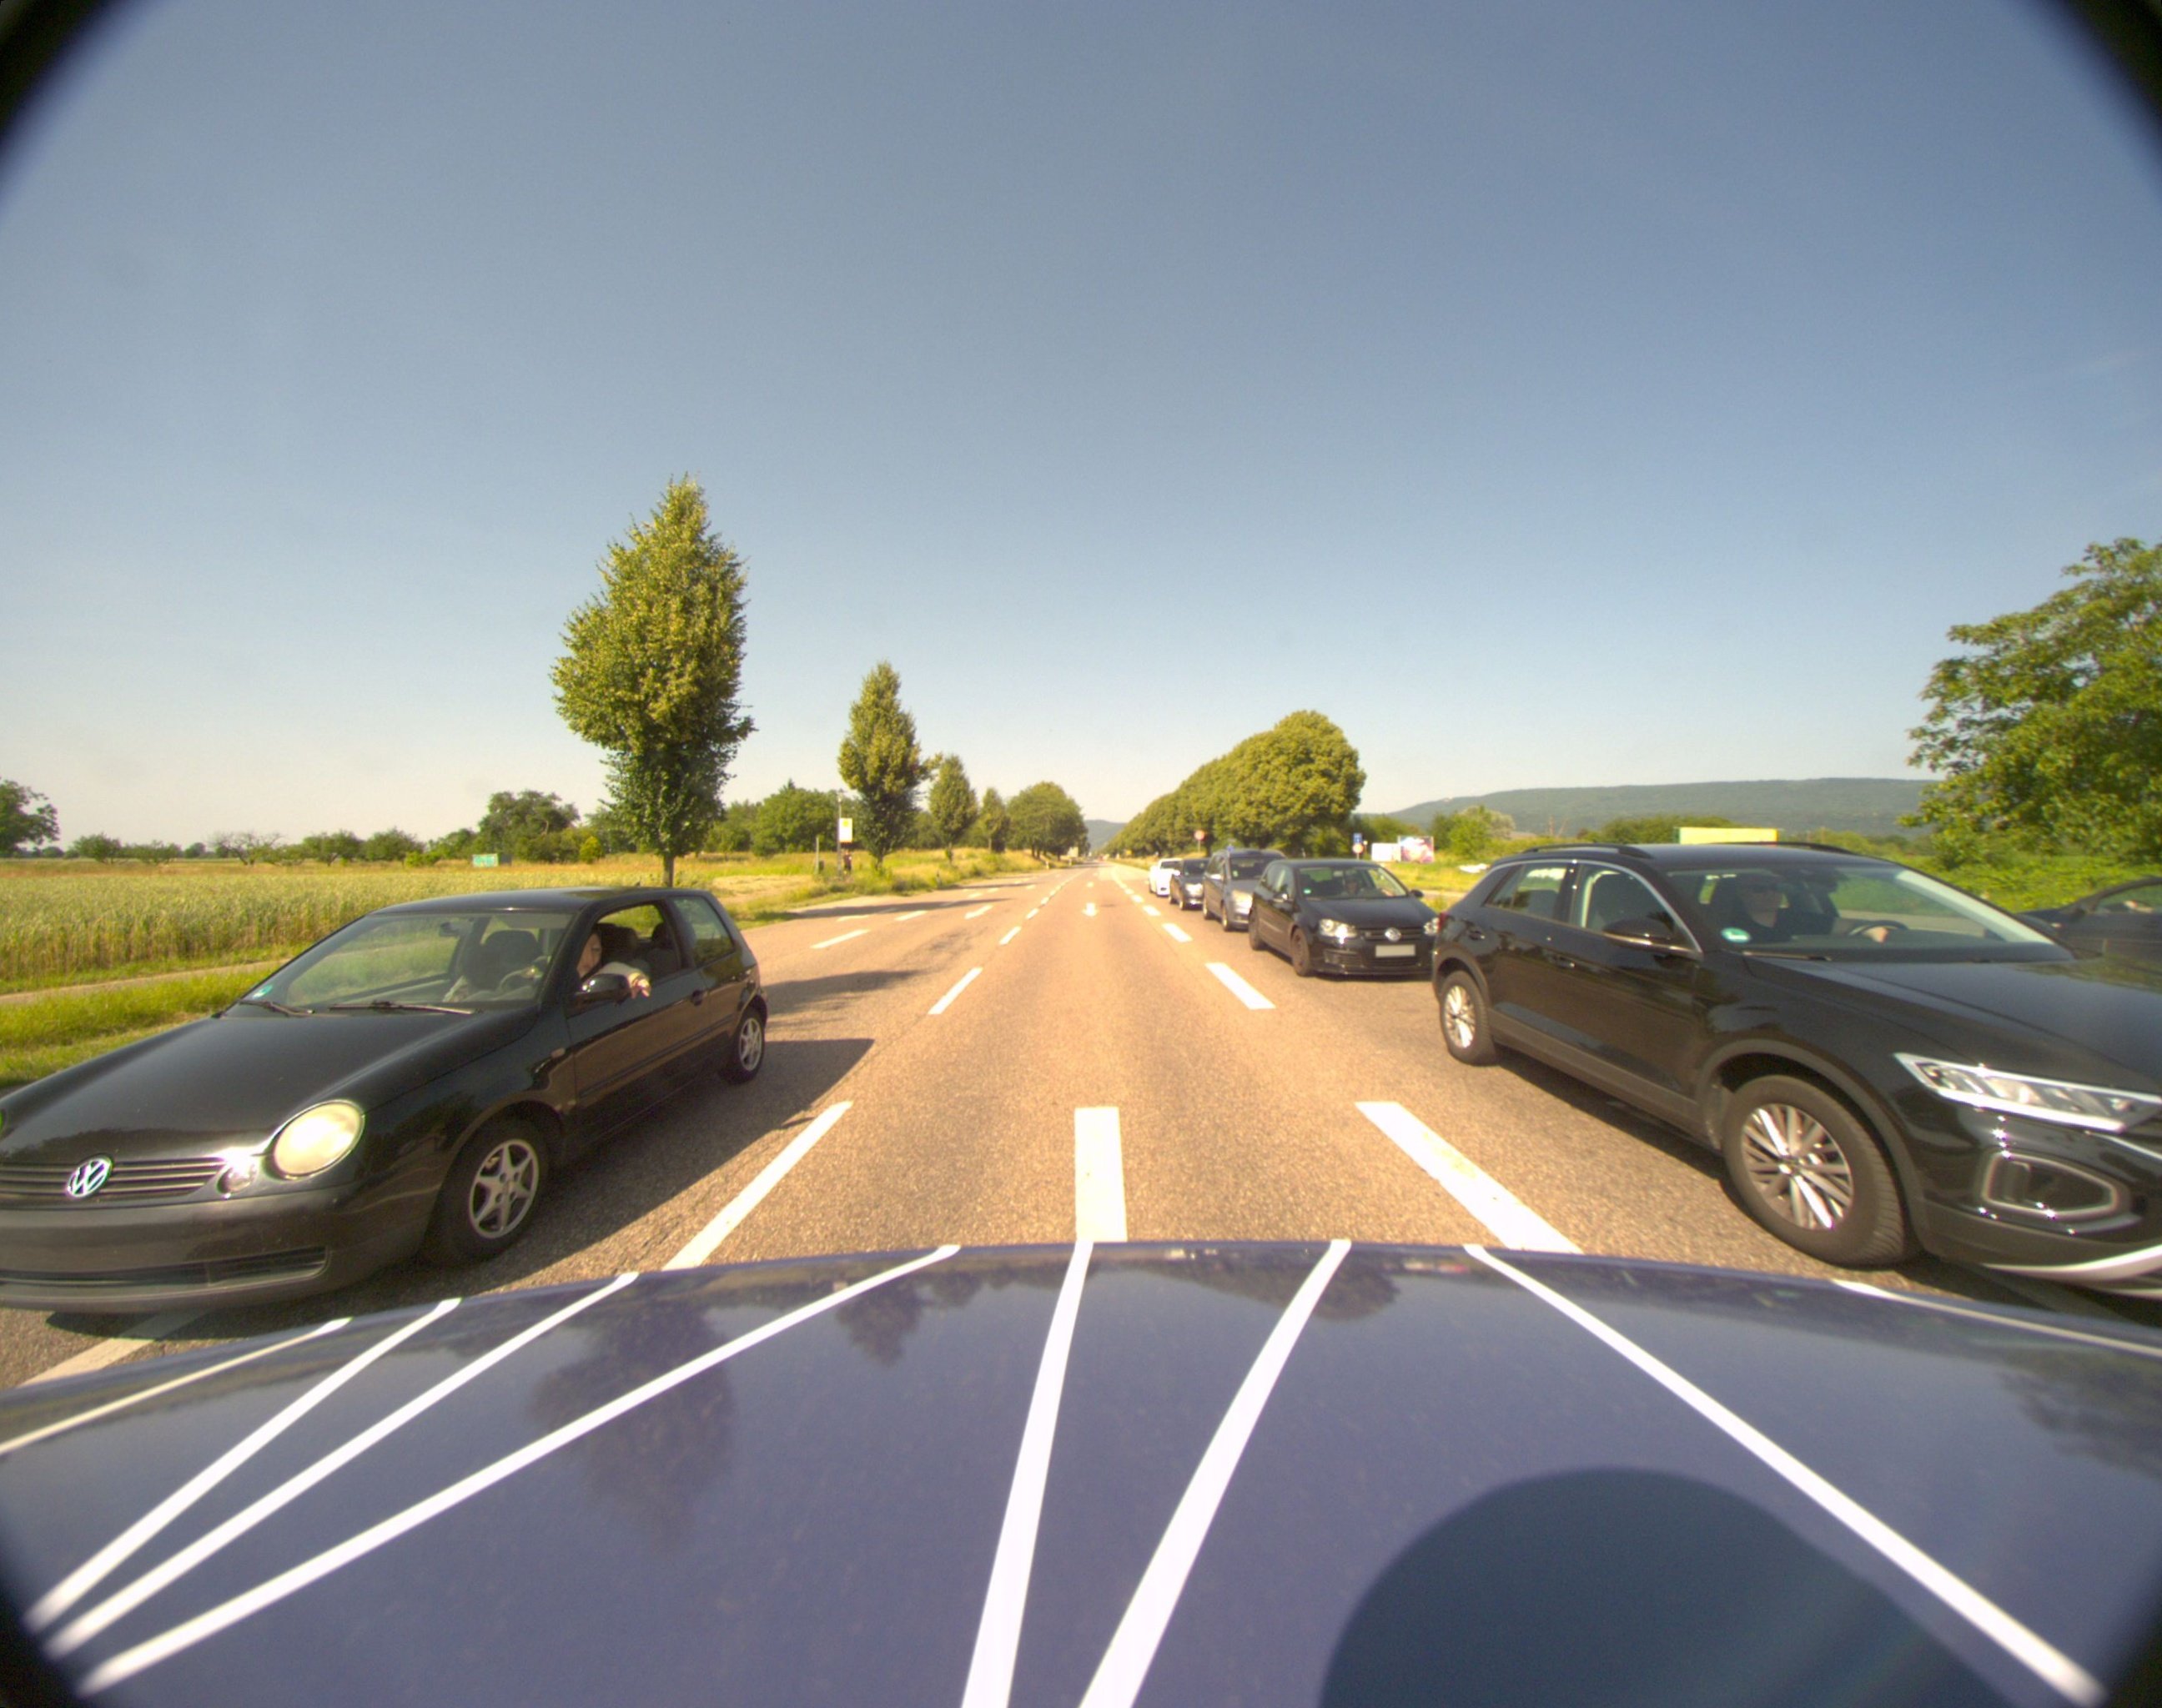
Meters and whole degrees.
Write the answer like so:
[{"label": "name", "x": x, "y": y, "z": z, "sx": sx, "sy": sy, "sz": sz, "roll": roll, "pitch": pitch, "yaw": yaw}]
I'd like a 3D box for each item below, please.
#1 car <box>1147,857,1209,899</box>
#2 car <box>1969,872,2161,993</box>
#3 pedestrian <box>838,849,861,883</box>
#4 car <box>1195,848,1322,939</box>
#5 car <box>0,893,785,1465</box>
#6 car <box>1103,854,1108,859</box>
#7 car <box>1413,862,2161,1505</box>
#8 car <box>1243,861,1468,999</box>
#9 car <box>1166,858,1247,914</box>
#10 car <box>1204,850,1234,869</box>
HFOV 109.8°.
[{"label": "car", "x": 3.625, "y": 0.853, "z": 29.176, "sx": 1.808, "sy": 1.417, "sz": 4.641, "roll": -1, "pitch": 0, "yaw": 1}, {"label": "car", "x": 14.171, "y": 1.027, "z": 9.531, "sx": 1.618, "sy": 1.433, "sz": 3.776, "roll": 2, "pitch": 0, "yaw": 1}, {"label": "pedestrian", "x": -12.438, "y": 0.629, "z": 40.892, "sx": 0.904, "sy": 1.828, "sz": 1.194, "roll": 0, "pitch": 0, "yaw": -1}, {"label": "car", "x": 3.611, "y": 0.734, "z": 16.258, "sx": 1.745, "sy": 1.662, "sz": 4.357, "roll": -1, "pitch": 0, "yaw": 1}, {"label": "car", "x": -3.122, "y": 1.037, "z": 3.981, "sx": 1.629, "sy": 1.425, "sz": 3.622, "roll": -2, "pitch": 0, "yaw": 1}, {"label": "car", "x": 8.131, "y": 0.741, "z": 250.966, "sx": 1.680, "sy": 1.499, "sz": 3.725, "roll": 1, "pitch": 0, "yaw": 1}, {"label": "car", "x": 3.450, "y": 0.845, "z": 3.926, "sx": 1.733, "sy": 1.538, "sz": 4.098, "roll": -1, "pitch": 0, "yaw": 1}, {"label": "car", "x": 3.461, "y": 0.858, "z": 10.426, "sx": 1.670, "sy": 1.466, "sz": 4.098, "roll": -1, "pitch": 0, "yaw": 1}, {"label": "car", "x": 3.561, "y": 0.855, "z": 22.290, "sx": 1.719, "sy": 1.402, "sz": 4.355, "roll": -1, "pitch": 0, "yaw": 1}, {"label": "car", "x": 11.645, "y": 0.467, "z": 64.407, "sx": 1.887, "sy": 1.506, "sz": 4.148, "roll": 2, "pitch": 0, "yaw": 3}]
